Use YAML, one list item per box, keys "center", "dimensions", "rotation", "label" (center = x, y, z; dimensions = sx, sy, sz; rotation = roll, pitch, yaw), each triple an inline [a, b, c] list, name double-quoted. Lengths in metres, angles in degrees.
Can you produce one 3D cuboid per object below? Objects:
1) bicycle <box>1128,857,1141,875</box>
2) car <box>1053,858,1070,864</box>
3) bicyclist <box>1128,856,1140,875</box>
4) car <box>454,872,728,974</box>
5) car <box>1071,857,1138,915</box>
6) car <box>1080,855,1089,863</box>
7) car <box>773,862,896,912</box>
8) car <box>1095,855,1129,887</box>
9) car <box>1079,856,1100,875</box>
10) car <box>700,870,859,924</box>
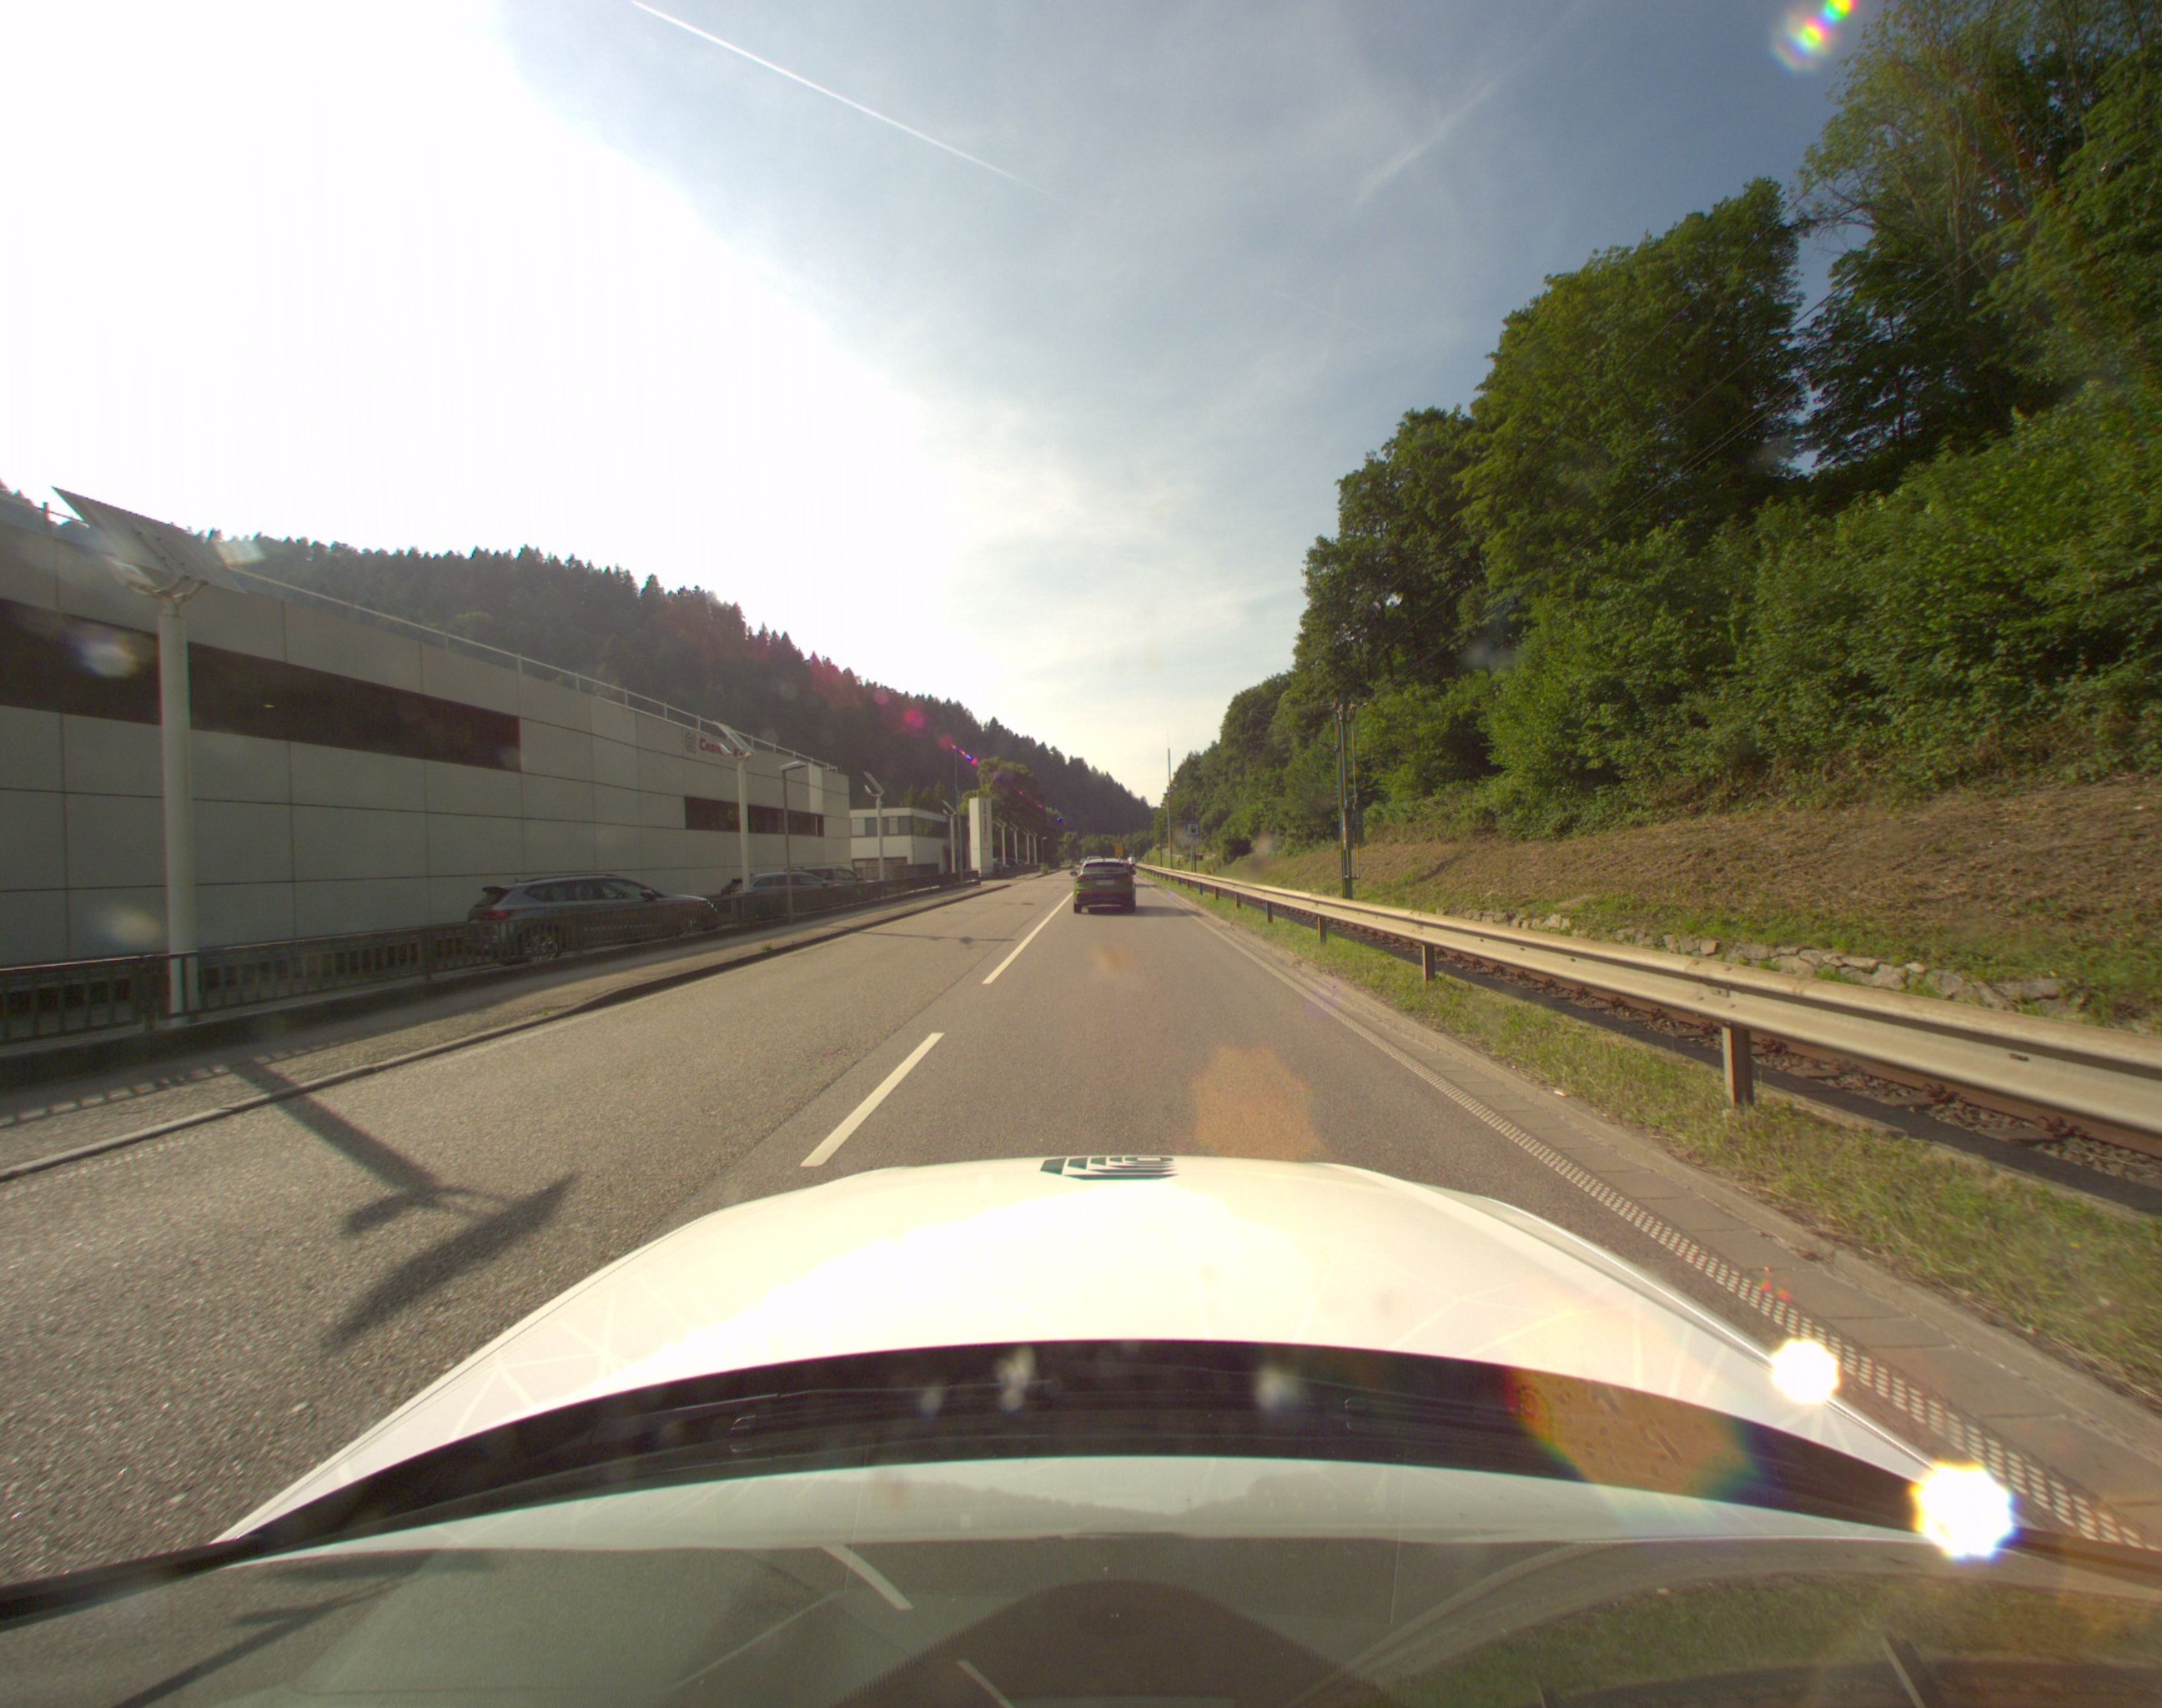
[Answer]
- center: [3.952, 0.891, 60.366]
  dimensions: [0.809, 1.250, 2.122]
  rotation: [-2, 0, 0]
  label: "bicycle"
- center: [-5.157, 1.876, 213.831]
  dimensions: [4.242, 1.433, 1.557]
  rotation: [-2, -1, 2]
  label: "car"
- center: [3.941, 0.866, 60.508]
  dimensions: [0.779, 1.412, 0.675]
  rotation: [-2, -1, -1]
  label: "bicyclist"
- center: [-9.409, 1.217, 15.881]
  dimensions: [1.865, 1.592, 4.200]
  rotation: [-2, -1, 43]
  label: "car"
- center: [0.656, 0.862, 23.642]
  dimensions: [1.733, 1.508, 4.000]
  rotation: [-1, 0, 1]
  label: "car"
- center: [0.679, 0.956, 156.919]
  dimensions: [1.671, 1.485, 4.247]
  rotation: [-4, 0, 1]
  label: "car"
- center: [-9.346, 1.204, 31.067]
  dimensions: [1.759, 1.708, 4.135]
  rotation: [-2, -1, 43]
  label: "car"
- center: [1.632, 0.889, 43.768]
  dimensions: [1.733, 1.602, 4.000]
  rotation: [-1, 0, 1]
  label: "car"
- center: [0.775, 1.040, 72.752]
  dimensions: [1.733, 1.602, 4.000]
  rotation: [-1, 0, 1]
  label: "car"
- center: [-9.809, 1.330, 26.727]
  dimensions: [1.865, 1.495, 4.516]
  rotation: [-2, -1, 43]
  label: "car"
